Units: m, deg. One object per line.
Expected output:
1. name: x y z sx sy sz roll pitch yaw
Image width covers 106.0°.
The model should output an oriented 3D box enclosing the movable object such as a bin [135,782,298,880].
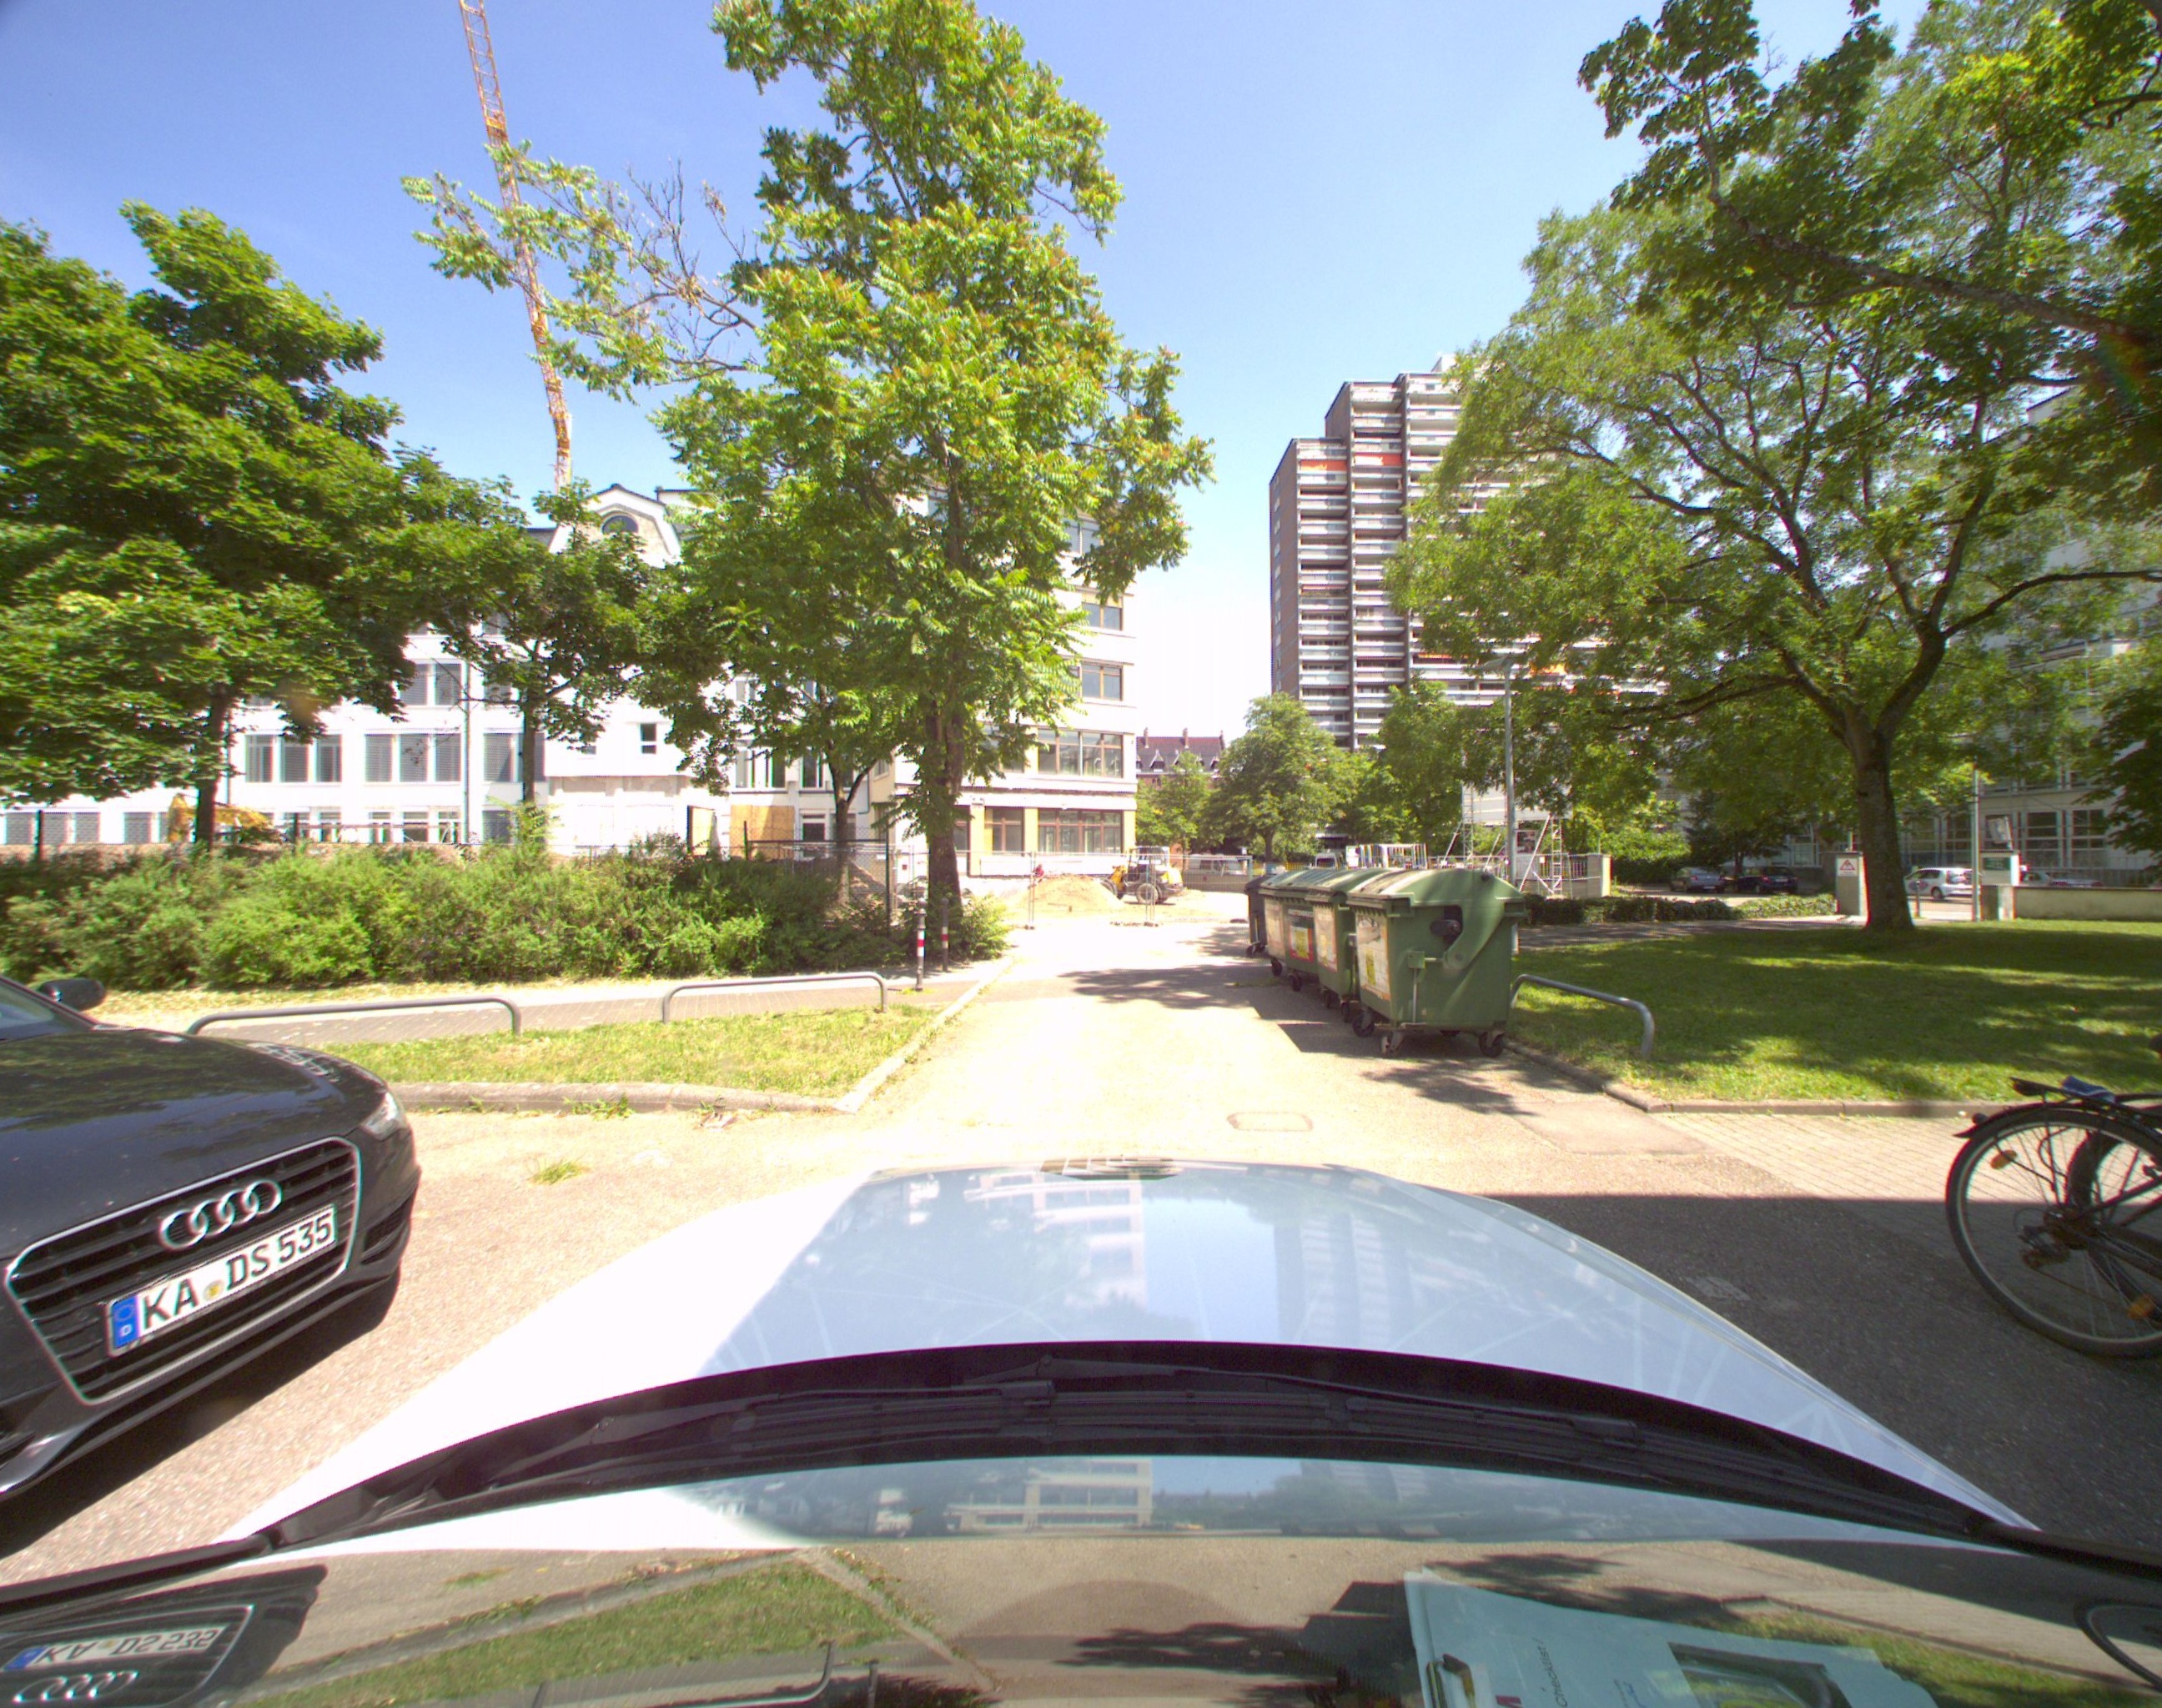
1. movable object such as a bin: -40.182 -1.004 37.930 5.677 4.373 2.003 -1 -1 5

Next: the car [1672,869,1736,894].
1. car: 34.710 1.522 45.470 1.897 1.310 3.952 -1 -1 23

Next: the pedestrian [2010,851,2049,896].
1. pedestrian: 43.240 0.886 37.126 0.984 2.014 0.882 -2 -2 40

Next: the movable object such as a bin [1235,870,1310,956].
1. movable object such as a bin: 3.394 1.027 14.566 1.071 1.458 1.378 0 -1 3

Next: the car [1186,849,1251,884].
1. car: 9.981 0.945 59.701 2.004 2.416 5.196 0 -1 -27

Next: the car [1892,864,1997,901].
1. car: 39.353 1.284 37.232 1.651 1.590 3.708 -1 -1 17

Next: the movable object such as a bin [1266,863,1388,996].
1. movable object such as a bin: 2.864 0.842 9.650 1.071 1.458 1.378 0 -1 3

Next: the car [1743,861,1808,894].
1. car: 36.460 1.230 42.833 1.992 1.629 3.955 -1 -1 32

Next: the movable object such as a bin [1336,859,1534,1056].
1. movable object such as a bin: 2.842 0.783 6.734 1.071 1.458 1.378 0 -1 3

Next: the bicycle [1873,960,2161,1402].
1. bicycle: 3.114 0.926 2.095 0.403 1.102 1.827 0 -1 2

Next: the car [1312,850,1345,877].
1. car: 21.743 0.830 71.395 2.165 2.258 4.895 -1 -1 23

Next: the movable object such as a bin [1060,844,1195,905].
1. movable object such as a bin: 2.029 0.837 35.750 5.352 2.464 2.382 1 -1 28

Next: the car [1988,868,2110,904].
1. car: 40.521 1.300 34.216 1.650 1.415 3.730 -1 -1 21

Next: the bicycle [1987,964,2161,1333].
1. bicycle: 3.583 0.946 2.136 0.403 1.102 1.827 0 -1 2

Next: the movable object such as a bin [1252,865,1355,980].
1. movable object such as a bin: 2.974 0.885 11.070 1.071 1.458 1.378 0 -1 3

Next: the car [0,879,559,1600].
1. car: -4.350 0.828 2.333 4.410 1.380 2.026 0 1 4

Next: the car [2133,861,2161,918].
1. car: 29.478 0.902 20.594 1.436 1.479 3.302 0 -1 -27

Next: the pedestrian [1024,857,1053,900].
1. pedestrian: -1.879 1.081 36.177 0.920 1.847 0.976 0 -2 -31

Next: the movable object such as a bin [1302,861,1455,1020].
1. movable object such as a bin: 2.917 0.812 8.176 1.071 1.458 1.378 0 -1 3

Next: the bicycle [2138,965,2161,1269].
1. bicycle: 4.096 0.941 2.093 0.403 1.102 1.827 0 -1 2
